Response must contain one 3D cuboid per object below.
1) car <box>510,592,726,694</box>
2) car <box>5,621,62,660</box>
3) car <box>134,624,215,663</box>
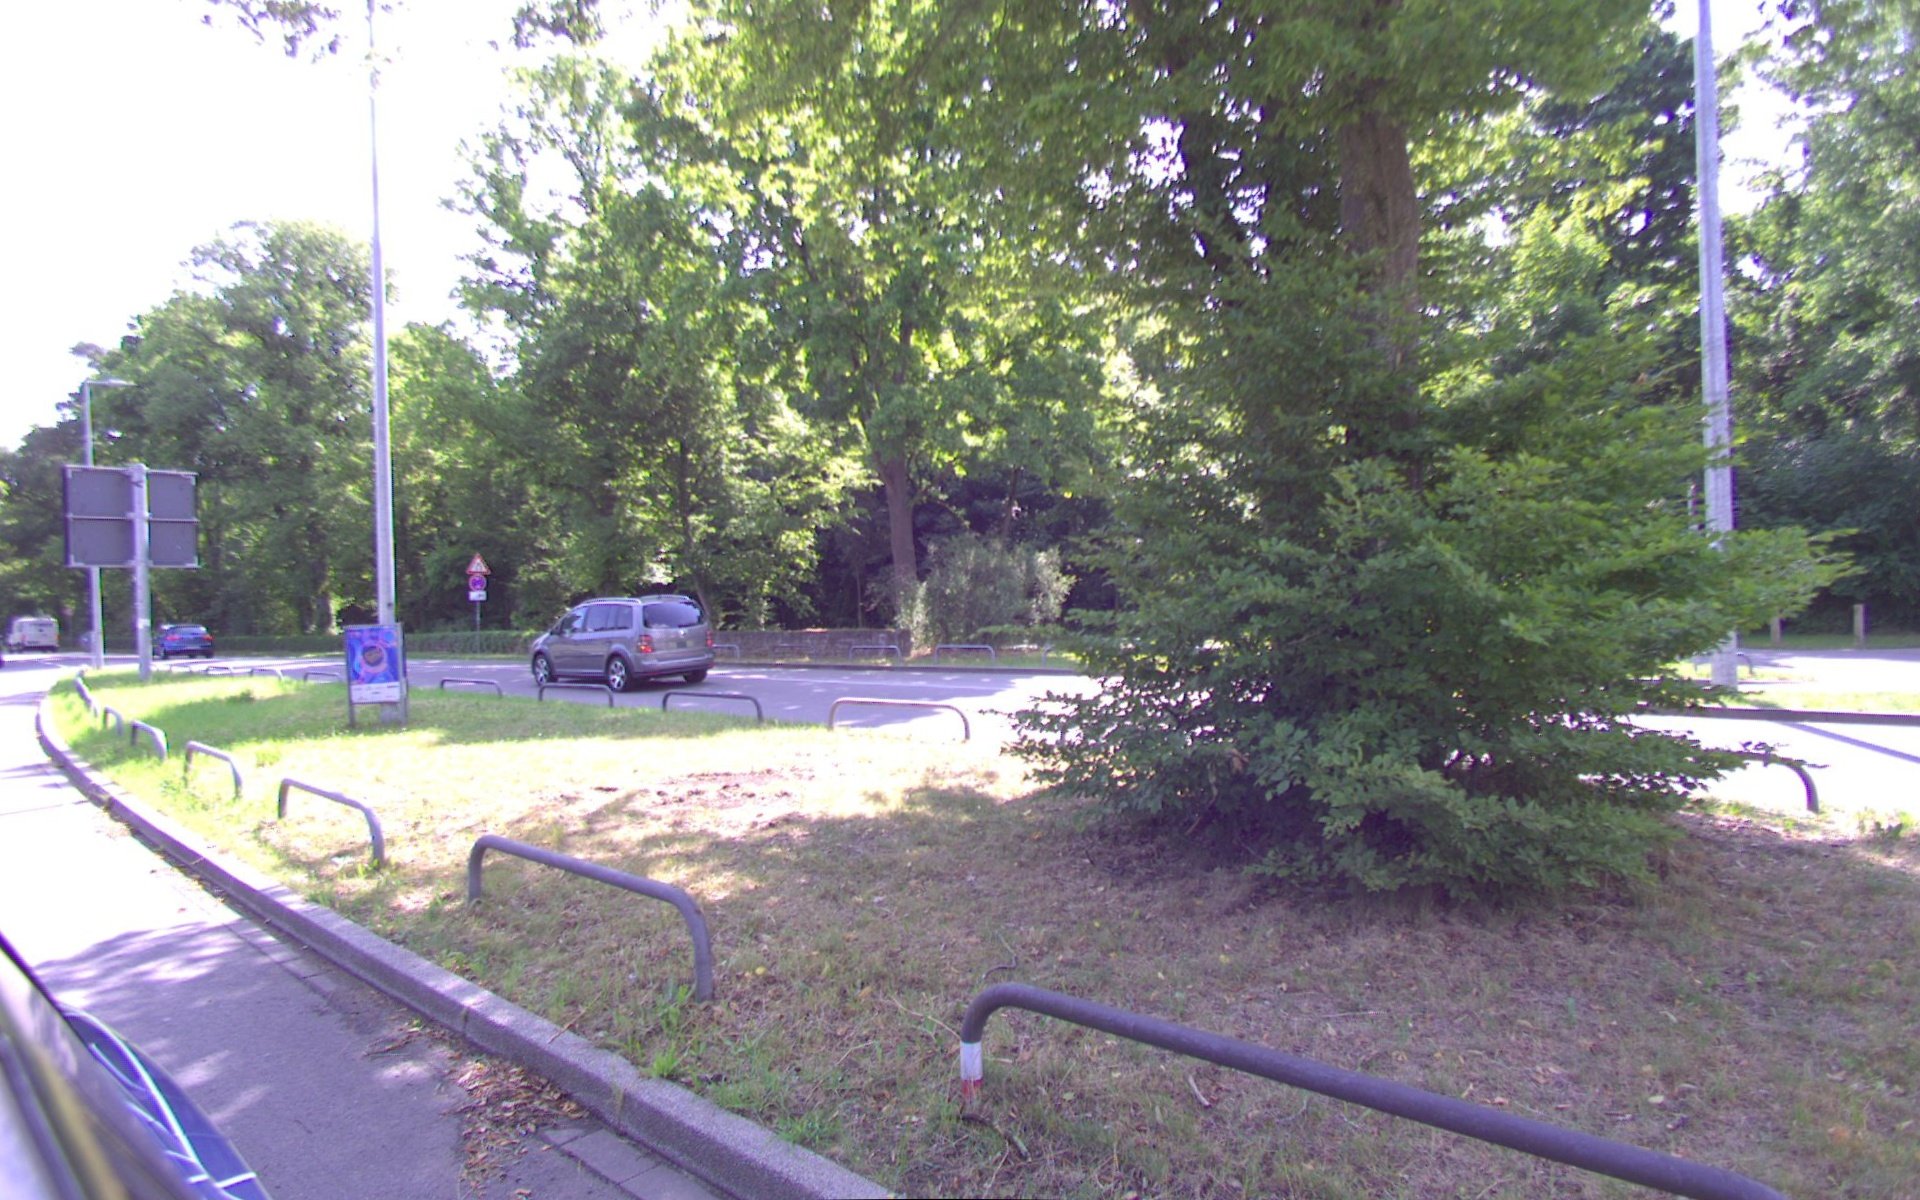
[{"bbox_3d":[-6.532,0.792,19.135,4.293,1.642,1.745,-2,1,38],"label":"car"},{"bbox_3d":[-62.894,2.673,68.693,5.356,2.449,1.956,-1,1,38],"label":"car"},{"bbox_3d":[-32.812,1.763,42.240,4.060,1.457,1.679,-1,2,37],"label":"car"}]
